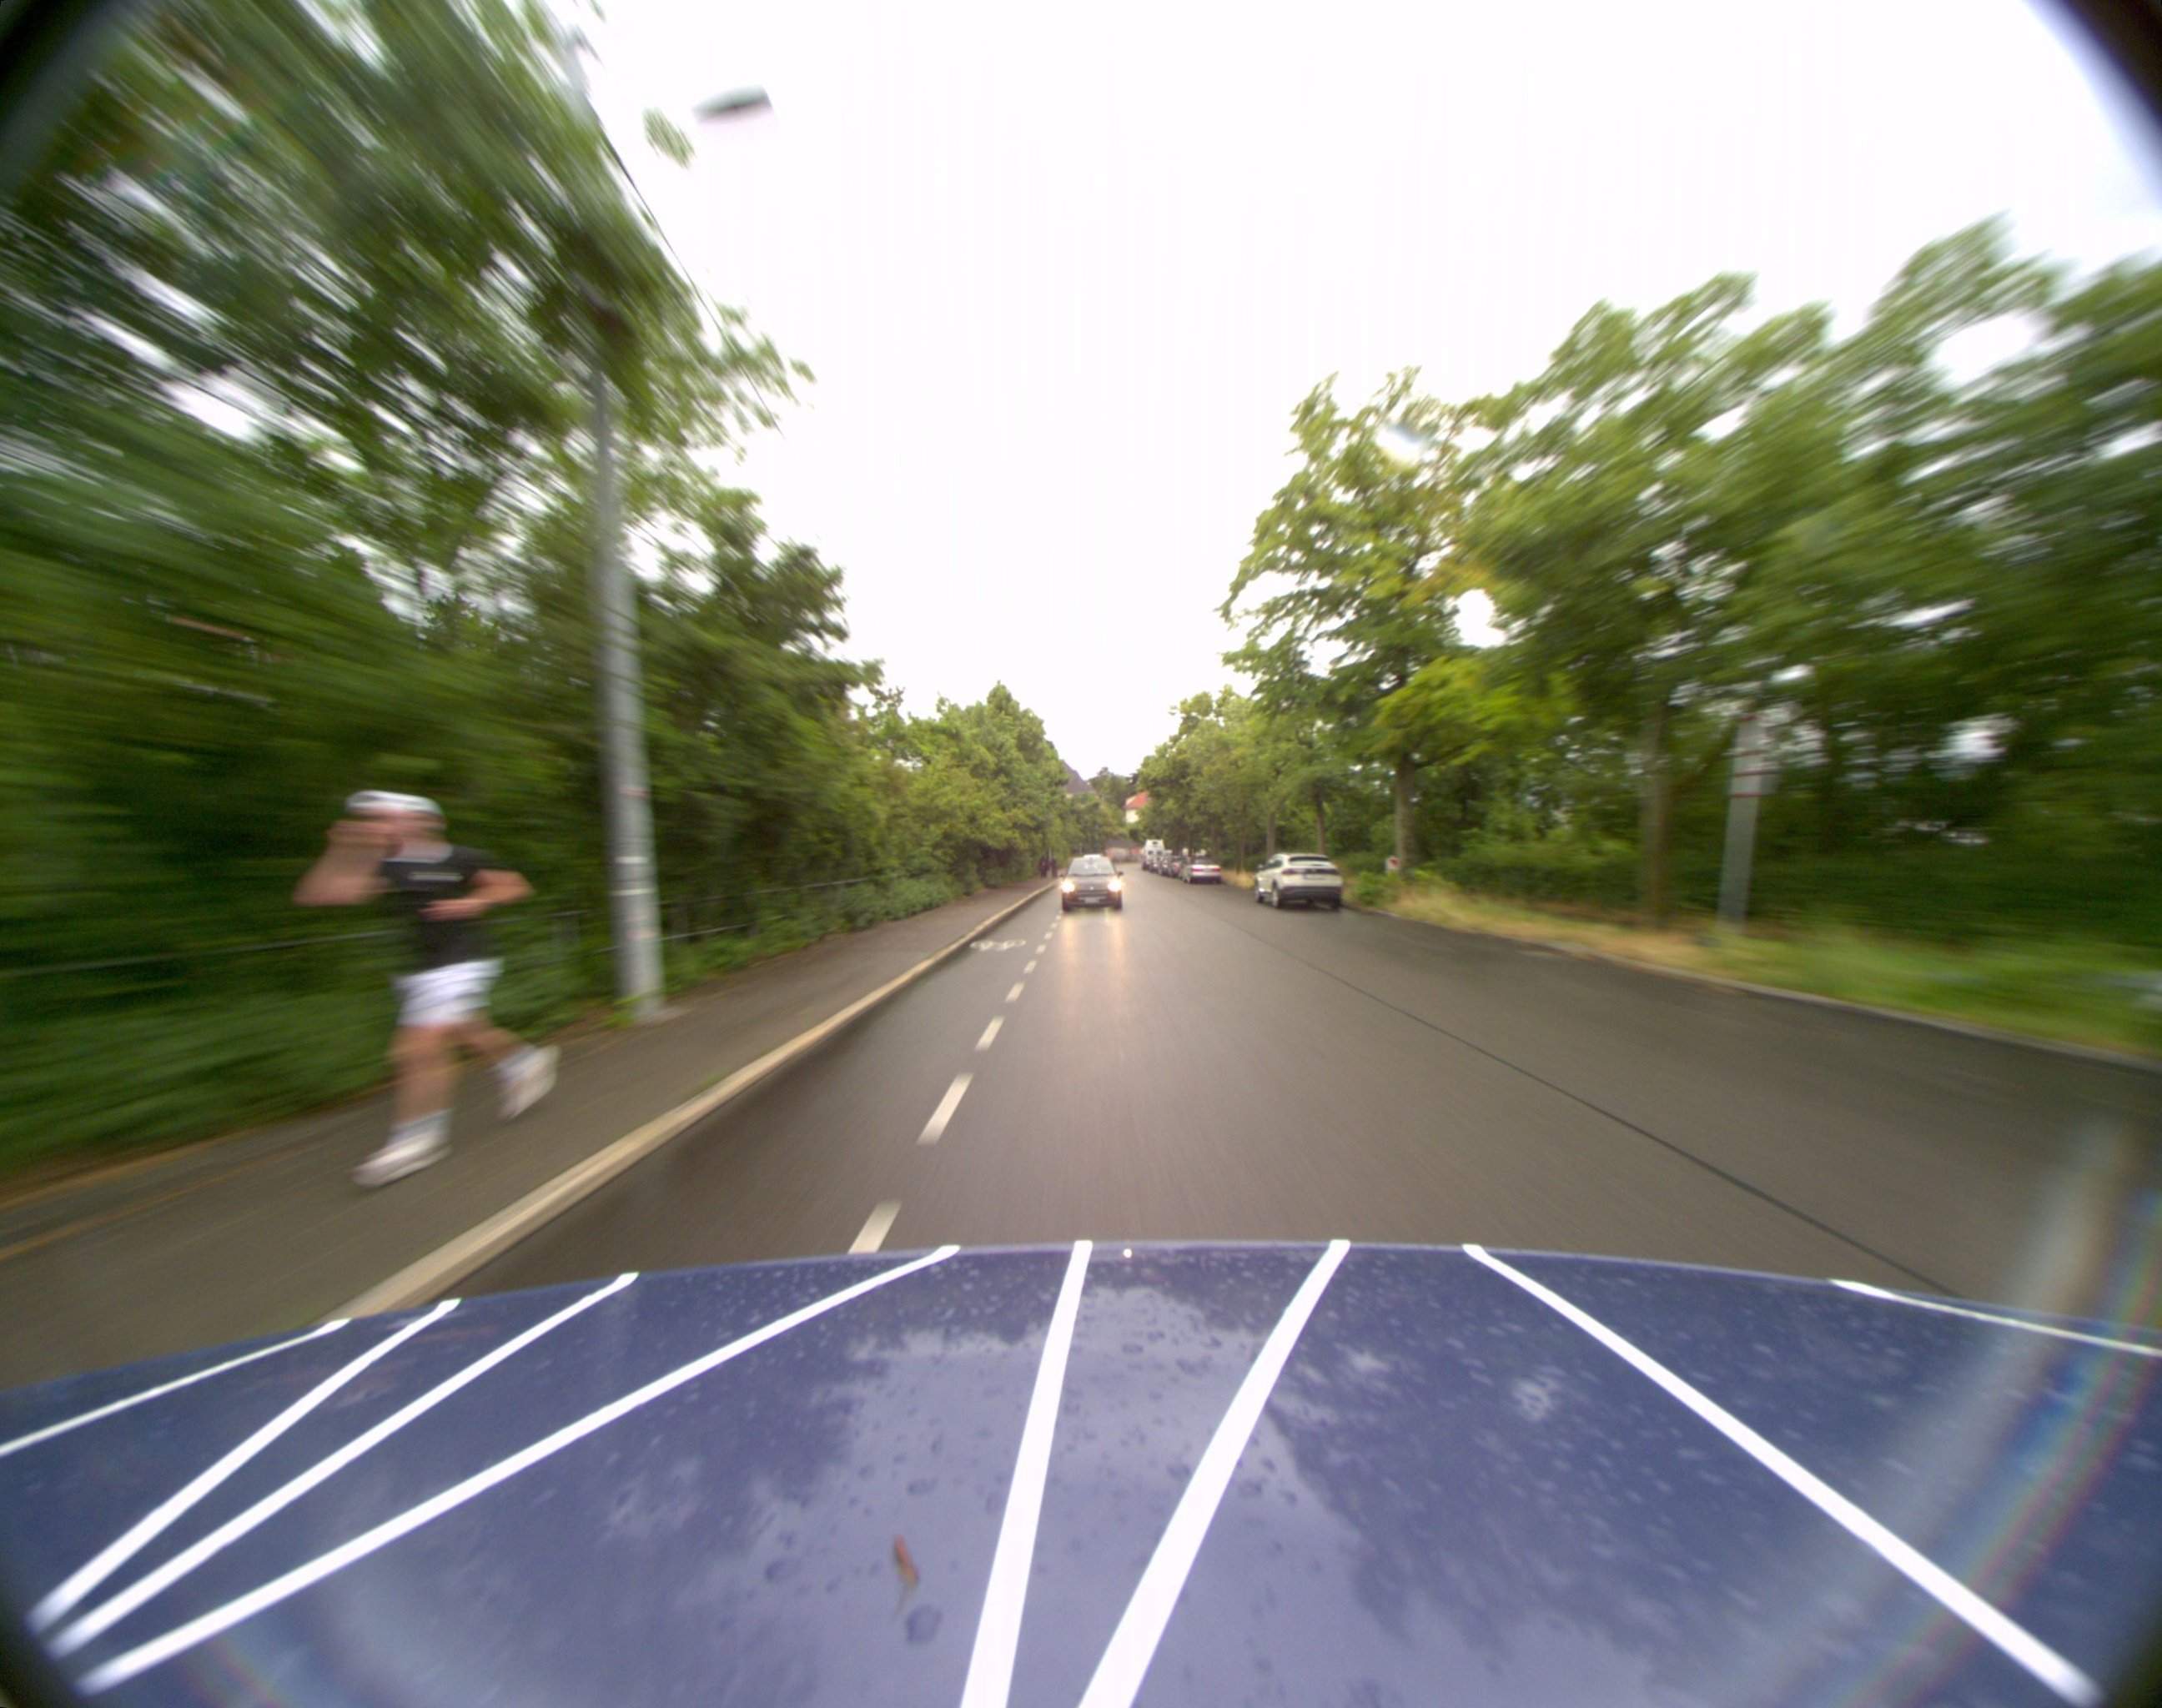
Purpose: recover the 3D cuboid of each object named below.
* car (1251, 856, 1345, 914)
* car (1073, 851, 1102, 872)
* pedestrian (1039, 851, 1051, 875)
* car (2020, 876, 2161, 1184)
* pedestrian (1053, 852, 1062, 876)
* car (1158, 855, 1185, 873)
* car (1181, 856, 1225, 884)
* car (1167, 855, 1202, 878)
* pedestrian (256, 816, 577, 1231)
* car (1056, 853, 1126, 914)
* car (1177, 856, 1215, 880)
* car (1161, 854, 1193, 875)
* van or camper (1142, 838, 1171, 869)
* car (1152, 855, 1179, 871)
[{"bbox_3d":[6.068,0.800,21.712,1.692,1.429,4.256,0,1,3],"label":"car"},{"bbox_3d":[0.581,0.592,60.779,2.030,1.619,4.229,0,0,4],"label":"car"},{"bbox_3d":[-2.411,0.591,51.131,0.597,1.558,0.668,1,3,-14],"label":"pedestrian"},{"bbox_3d":[5.994,0.857,1.990,1.802,1.429,4.255,0,1,0],"label":"car"},{"bbox_3d":[-1.585,0.653,50.944,0.553,1.559,0.486,2,6,4],"label":"pedestrian"},{"bbox_3d":[7.223,0.800,60.902,1.998,1.397,4.716,1,-1,5],"label":"car"},{"bbox_3d":[6.483,0.816,40.908,1.759,1.394,4.419,0,1,1],"label":"car"},{"bbox_3d":[6.899,0.780,51.265,1.998,1.397,4.714,1,1,4],"label":"car"},{"bbox_3d":[-3.285,0.749,3.873,0.718,1.824,1.021,1,1,3],"label":"pedestrian"},{"bbox_3d":[0.266,0.785,22.328,1.804,1.419,4.381,-2,2,0],"label":"car"},{"bbox_3d":[6.914,0.811,45.994,1.599,1.354,4.000,0,1,-1],"label":"car"},{"bbox_3d":[7.033,0.755,56.163,1.998,1.397,4.714,1,1,4],"label":"car"},{"bbox_3d":[7.692,-0.063,77.912,2.511,3.009,6.561,0,1,2],"label":"van or camper"},{"bbox_3d":[7.382,0.782,66.895,1.998,1.301,5.357,1,-1,3],"label":"car"}]
